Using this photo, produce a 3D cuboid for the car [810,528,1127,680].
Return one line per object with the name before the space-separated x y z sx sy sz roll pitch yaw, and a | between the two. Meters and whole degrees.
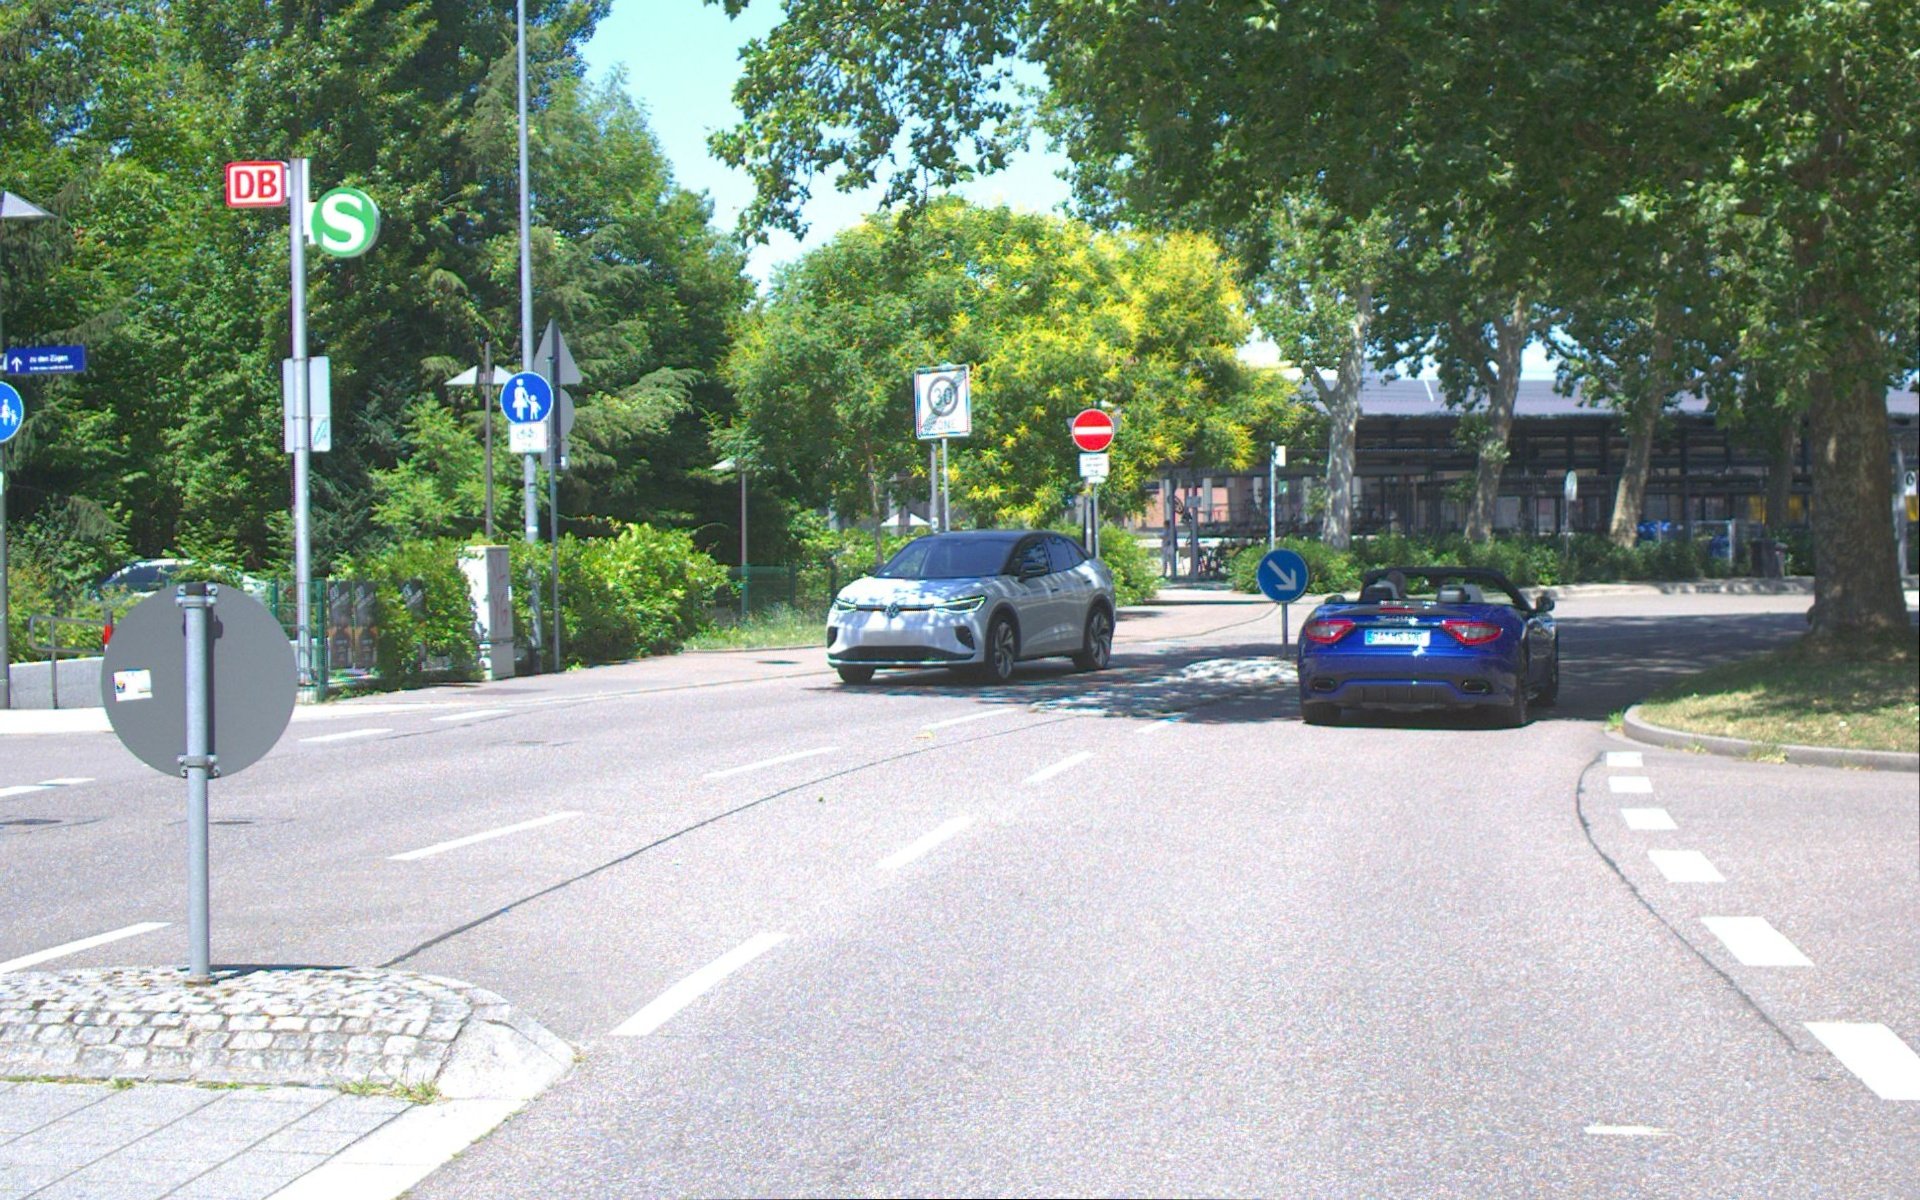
car | 0.165 -0.005 37.489 1.847 1.525 4.333 0 2 24
